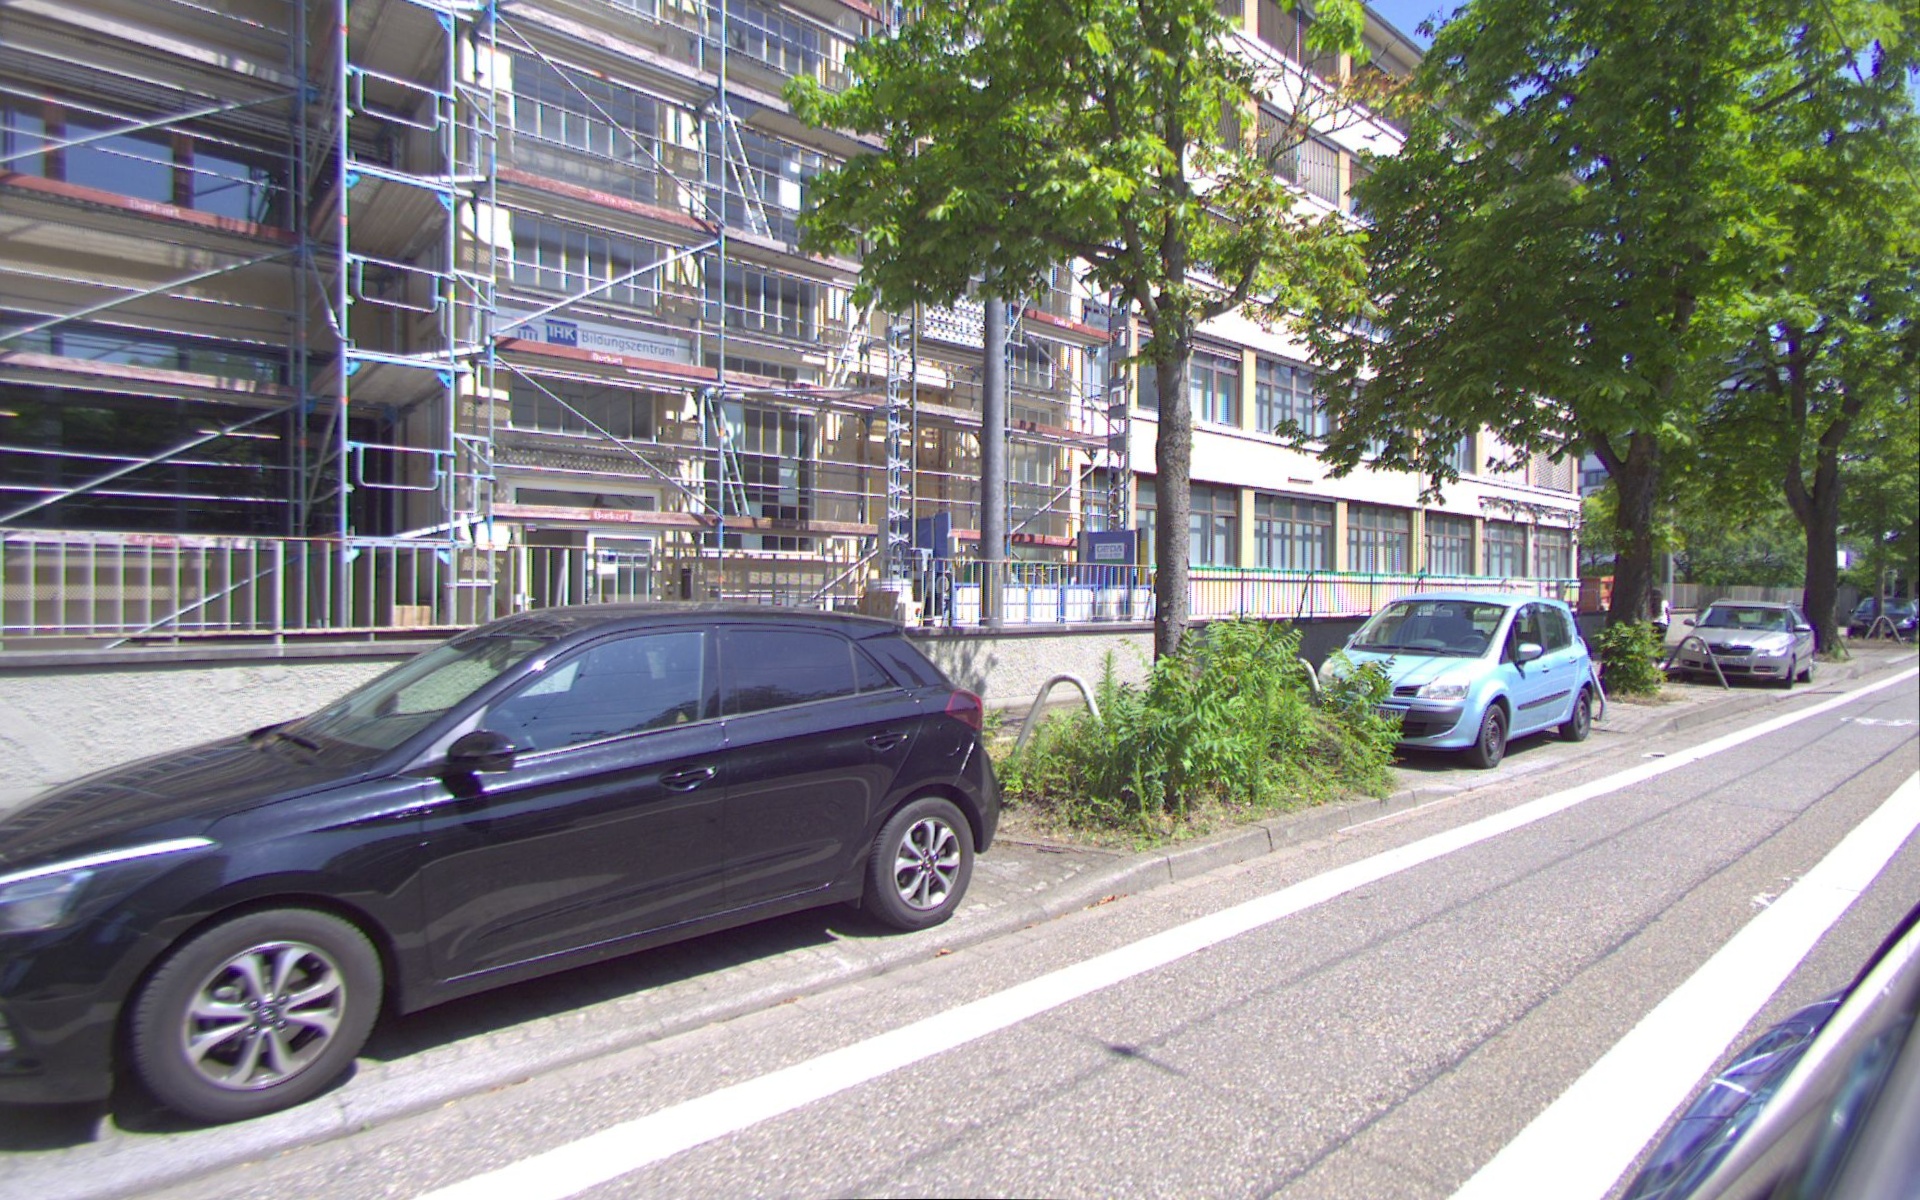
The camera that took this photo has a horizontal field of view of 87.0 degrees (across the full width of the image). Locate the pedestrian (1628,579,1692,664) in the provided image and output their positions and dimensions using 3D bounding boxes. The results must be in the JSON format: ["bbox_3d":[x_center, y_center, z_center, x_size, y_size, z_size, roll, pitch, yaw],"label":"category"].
[{"bbox_3d":[13.797,0.400,19.952,0.903,1.608,0.801,0,2,-42],"label":"pedestrian"}]

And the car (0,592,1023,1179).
[{"bbox_3d":[-1.722,0.705,4.266,3.972,1.456,1.674,0,1,-42],"label":"car"}]

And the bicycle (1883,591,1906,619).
[{"bbox_3d":[44.517,0.249,48.203,1.743,1.281,0.556,0,3,-41],"label":"bicycle"}]

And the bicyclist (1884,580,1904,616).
[{"bbox_3d":[44.541,-0.087,48.242,0.589,1.668,0.581,0,2,-41],"label":"bicyclist"}]

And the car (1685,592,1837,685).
[{"bbox_3d":[14.937,0.628,18.797,4.293,1.518,1.672,0,1,-44],"label":"car"}]

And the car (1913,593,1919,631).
[{"bbox_3d":[37.678,0.446,38.491,4.667,1.426,1.674,0,1,-42],"label":"car"}]

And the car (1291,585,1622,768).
[{"bbox_3d":[5.276,0.624,10.506,4.129,1.537,1.674,0,1,-42],"label":"car"}]

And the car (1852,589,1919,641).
[{"bbox_3d":[29.050,0.419,31.355,3.912,1.508,1.674,0,1,-42],"label":"car"}]
